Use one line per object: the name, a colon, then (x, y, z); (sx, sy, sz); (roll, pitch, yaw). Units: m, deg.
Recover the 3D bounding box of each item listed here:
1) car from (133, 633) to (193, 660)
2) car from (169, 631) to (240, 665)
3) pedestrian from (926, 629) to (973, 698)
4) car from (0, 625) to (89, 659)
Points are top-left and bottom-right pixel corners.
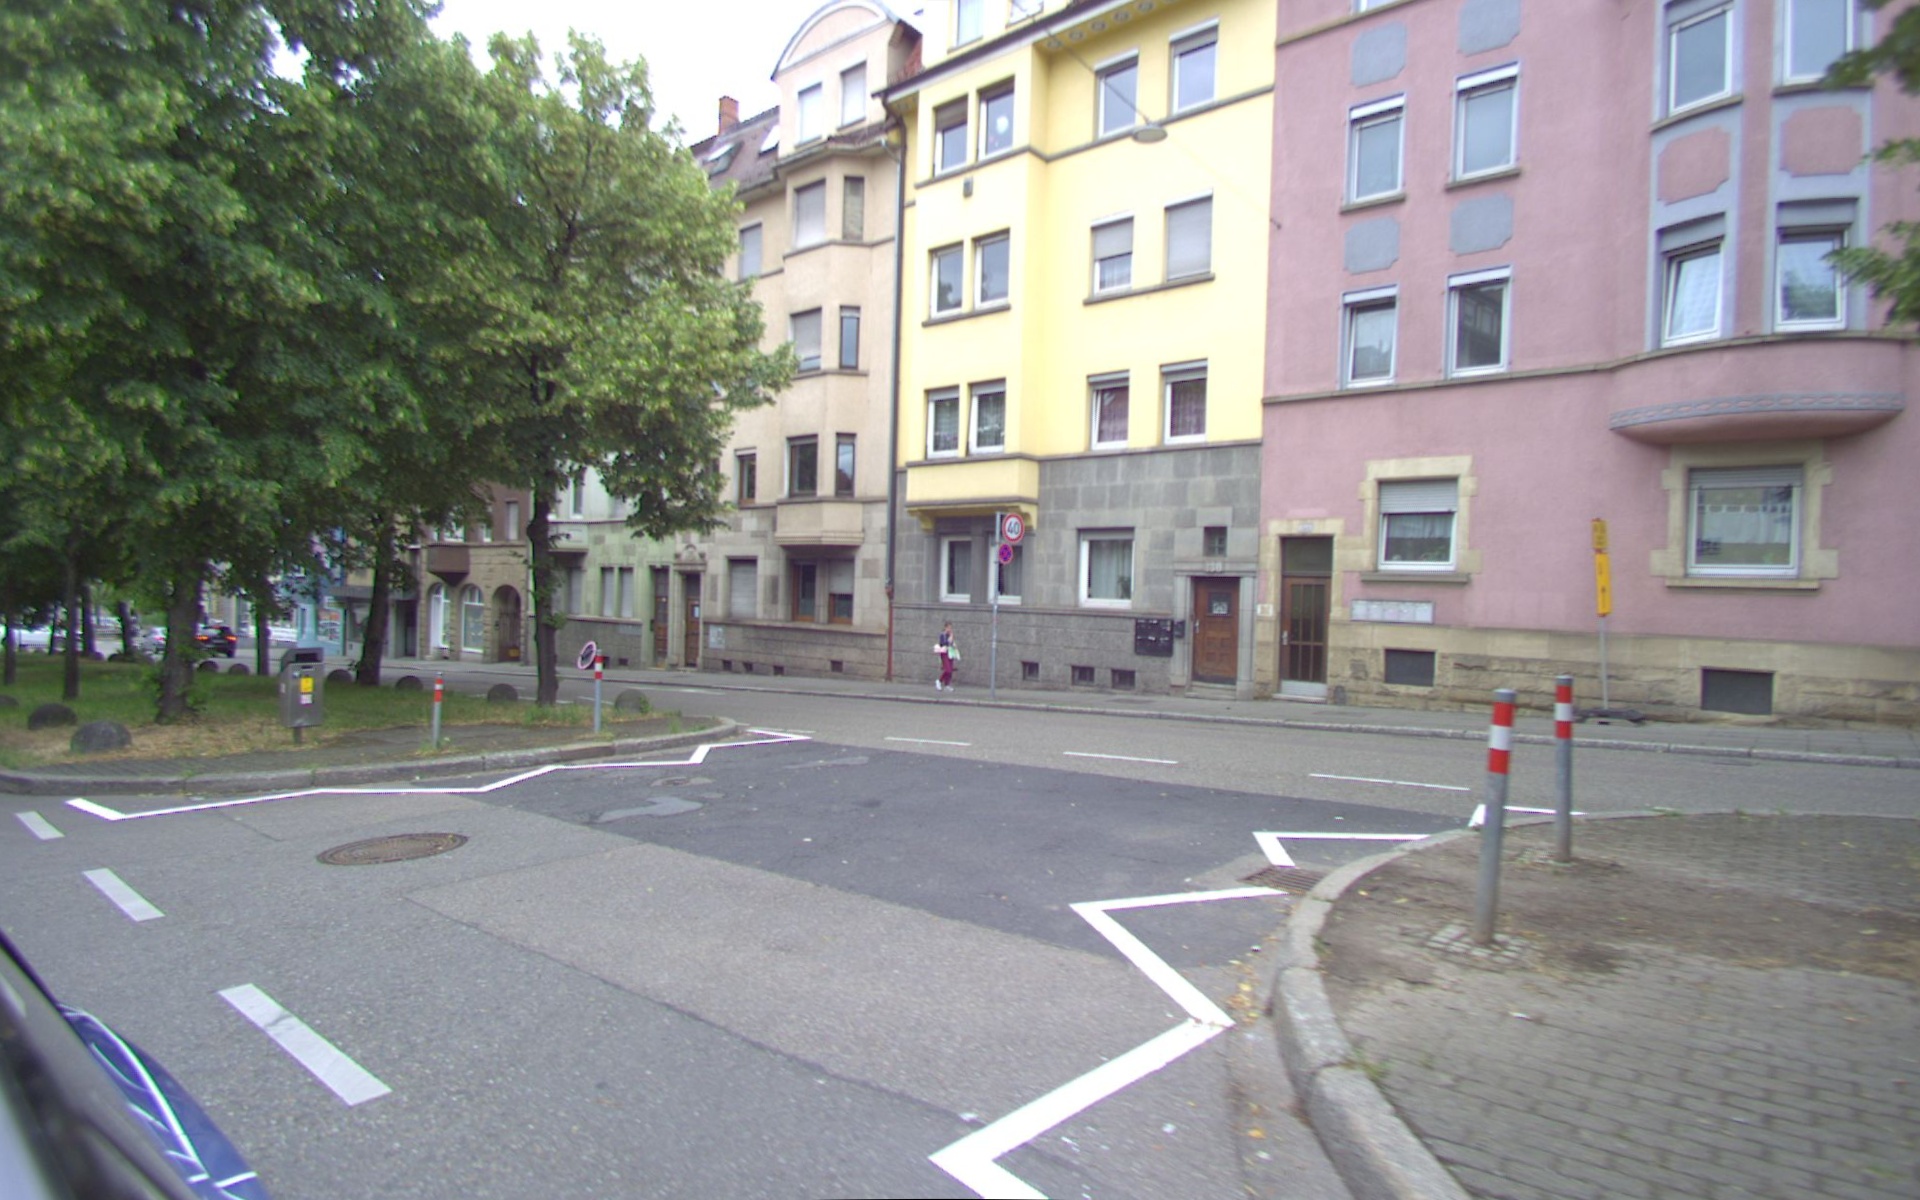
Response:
car: (-44.513, 2.593, 56.518); (4.288, 1.417, 1.653); (-2, -3, 38)
car: (-38.486, 2.421, 51.526); (4.674, 1.649, 1.798); (-1, -3, 39)
pedestrian: (-0.225, 1.374, 22.060); (0.703, 1.471, 0.691); (-3, -2, 41)
car: (-58.142, 2.642, 64.020); (4.196, 2.029, 2.006); (0, 0, -19)
